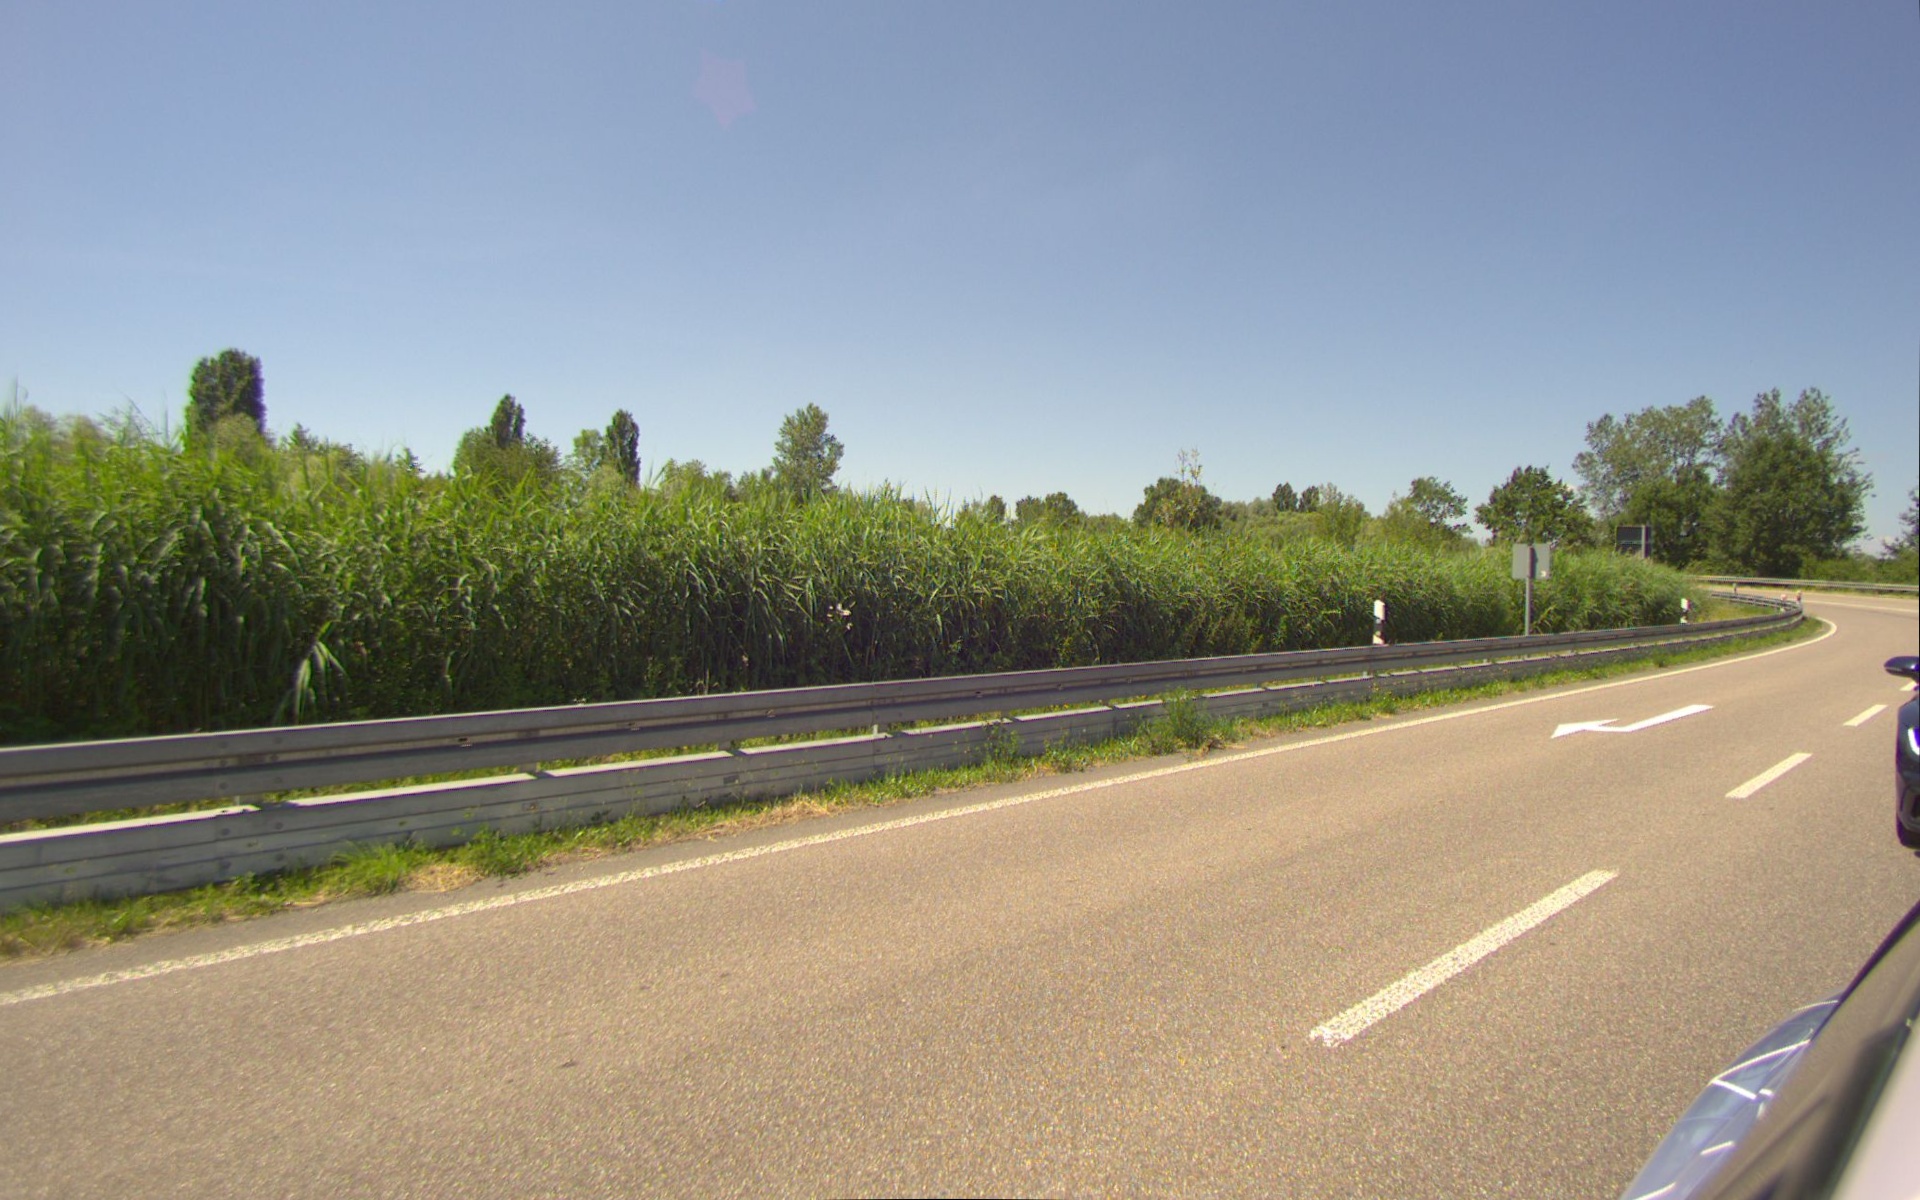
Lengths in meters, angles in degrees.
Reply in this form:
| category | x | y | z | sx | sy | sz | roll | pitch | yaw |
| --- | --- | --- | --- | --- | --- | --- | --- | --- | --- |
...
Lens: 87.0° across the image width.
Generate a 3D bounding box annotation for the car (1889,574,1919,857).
| category | x | y | z | sx | sy | sz | roll | pitch | yaw |
| --- | --- | --- | --- | --- | --- | --- | --- | --- | --- |
| car | 7.167 | 0.596 | 6.107 | 4.338 | 1.481 | 1.818 | -1 | 1 | -41 |
